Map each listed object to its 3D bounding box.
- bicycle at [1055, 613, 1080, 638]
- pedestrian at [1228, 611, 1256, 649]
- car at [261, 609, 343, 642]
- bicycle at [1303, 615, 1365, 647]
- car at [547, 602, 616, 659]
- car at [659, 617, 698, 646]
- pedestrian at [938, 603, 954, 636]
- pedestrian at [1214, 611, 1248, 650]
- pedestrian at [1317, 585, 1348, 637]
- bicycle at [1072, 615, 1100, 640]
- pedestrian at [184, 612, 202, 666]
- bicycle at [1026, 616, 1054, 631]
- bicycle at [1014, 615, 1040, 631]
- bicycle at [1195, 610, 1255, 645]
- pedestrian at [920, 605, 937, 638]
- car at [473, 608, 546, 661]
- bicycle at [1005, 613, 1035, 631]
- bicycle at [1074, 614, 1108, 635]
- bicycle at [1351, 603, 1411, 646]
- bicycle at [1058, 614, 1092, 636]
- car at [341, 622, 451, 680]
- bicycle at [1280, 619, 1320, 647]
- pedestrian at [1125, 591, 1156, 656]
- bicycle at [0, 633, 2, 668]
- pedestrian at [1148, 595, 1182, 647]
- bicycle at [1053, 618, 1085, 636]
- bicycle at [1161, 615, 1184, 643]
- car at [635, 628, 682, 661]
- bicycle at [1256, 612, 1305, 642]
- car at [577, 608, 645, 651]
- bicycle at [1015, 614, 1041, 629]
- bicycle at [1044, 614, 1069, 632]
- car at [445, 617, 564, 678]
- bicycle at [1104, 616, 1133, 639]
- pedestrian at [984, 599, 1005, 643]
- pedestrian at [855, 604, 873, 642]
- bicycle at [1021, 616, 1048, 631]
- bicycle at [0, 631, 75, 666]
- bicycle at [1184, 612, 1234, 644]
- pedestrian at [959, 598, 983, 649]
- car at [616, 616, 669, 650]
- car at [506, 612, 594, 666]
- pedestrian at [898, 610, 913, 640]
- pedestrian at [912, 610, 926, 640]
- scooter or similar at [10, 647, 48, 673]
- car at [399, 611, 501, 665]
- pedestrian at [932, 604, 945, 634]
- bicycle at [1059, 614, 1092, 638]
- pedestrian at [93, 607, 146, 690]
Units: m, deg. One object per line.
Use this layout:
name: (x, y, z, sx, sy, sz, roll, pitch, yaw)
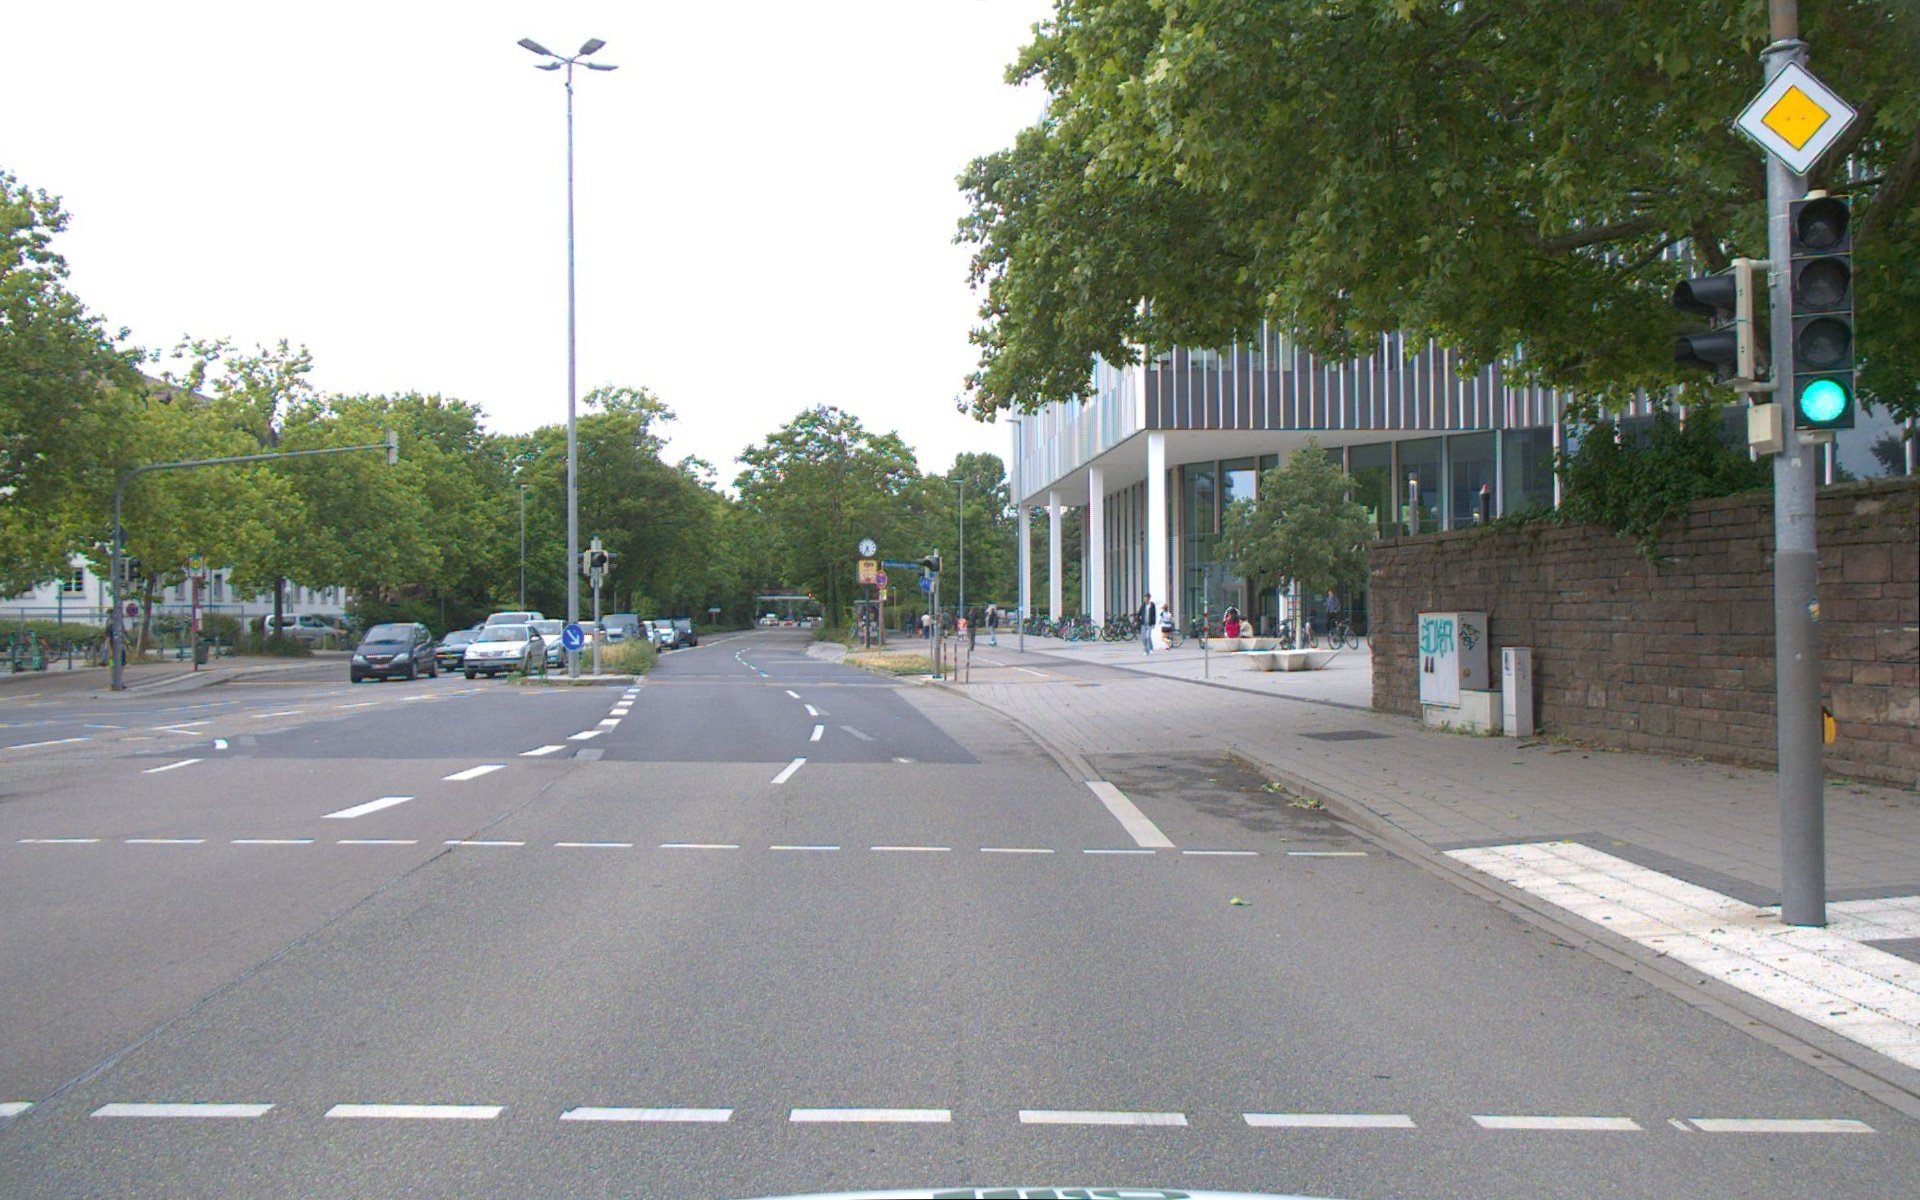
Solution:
bicycle: (5.090, 1.214, 78.428, 0.624, 1.160, 2.196, -3, 0, -9)
pedestrian: (9.165, 0.970, 53.770, 0.872, 1.214, 0.846, -1, -1, 9)
car: (-33.587, 1.287, 84.521, 3.517, 1.630, 1.649, 1, -1, -7)
bicycle: (12.677, 1.055, 56.055, 2.166, 1.023, 0.772, -1, -1, -35)
car: (-14.242, 1.145, 62.412, 1.954, 2.049, 3.996, -1, -1, -5)
car: (-16.669, 1.855, 98.062, 1.866, 1.621, 4.512, -1, -1, -5)
pedestrian: (-0.904, 1.221, 105.305, 0.907, 2.049, 1.038, -1, -1, -6)
pedestrian: (8.705, 0.970, 53.148, 0.827, 1.227, 0.893, -1, -1, 29)
pedestrian: (15.314, 0.436, 68.034, 1.156, 2.098, 1.136, 1, -1, 15)
bicycle: (5.752, 1.262, 75.681, 0.598, 1.099, 1.954, -3, 0, -16)
pedestrian: (-25.034, 1.270, 53.987, 0.412, 1.769, 0.433, 1, -1, -11)
bicycle: (4.826, 1.423, 99.864, 1.575, 0.890, 0.556, -2, -1, -4)
bicycle: (4.143, 1.428, 102.532, 1.575, 0.890, 0.556, -2, -1, -4)
bicycle: (9.643, 1.008, 60.154, 0.761, 1.209, 2.702, -2, -1, 43)
pedestrian: (-1.986, 1.356, 105.392, 0.908, 2.049, 1.037, -1, -1, -9)
car: (-16.986, 1.273, 62.522, 1.736, 1.880, 4.485, 1, -1, -3)
bicycle: (3.840, 1.405, 105.545, 1.760, 1.100, 0.625, -3, 0, -7)
bicycle: (6.426, 1.202, 81.220, 1.572, 0.952, 0.569, -3, 0, 6)
bicycle: (14.005, 0.799, 54.968, 1.978, 1.328, 0.640, -2, 1, -27)
bicycle: (5.728, 1.242, 82.648, 1.575, 0.999, 0.556, -4, 0, -4)
car: (-15.686, 1.387, 46.155, 1.815, 1.489, 3.696, -1, 0, -1)
bicycle: (11.837, 1.137, 57.582, 0.659, 0.914, 1.838, -2, -1, 36)
pedestrian: (5.767, 0.749, 52.791, 0.826, 2.049, 0.894, -1, -1, -3)
bicycle: (-33.103, 1.693, 55.066, 2.002, 1.173, 0.716, -1, -1, -23)
pedestrian: (7.388, 0.749, 59.658, 0.835, 1.868, 0.884, 0, -1, -34)
bicycle: (5.660, 1.422, 85.735, 1.575, 0.890, 0.556, -1, -1, -4)
bicycle: (8.165, 1.104, 63.585, 0.625, 1.080, 1.840, 1, -1, 0)
car: (-15.690, 2.281, 86.352, 1.955, 1.574, 4.175, -2, 0, -5)
bicycle: (11.316, 0.960, 58.352, 0.761, 1.019, 1.947, -2, -1, 43)
car: (-14.700, 1.214, 69.941, 1.953, 1.717, 4.946, 1, 0, -2)
bicycle: (4.301, 1.347, 104.440, 1.576, 0.890, 0.555, -1, -1, -9)
bicycle: (5.167, 1.240, 89.000, 1.258, 0.890, 0.556, -2, -1, -4)
car: (-12.514, 1.276, 45.707, 1.952, 1.556, 4.275, -1, 0, 2)
bicycle: (7.100, 1.219, 73.875, 1.477, 0.945, 0.433, -2, 1, -44)
pedestrian: (1.630, 0.979, 78.039, 0.826, 2.049, 0.893, -1, -1, -7)
pedestrian: (-5.457, 1.296, 93.562, 0.895, 2.048, 0.853, -3, 1, -6)
bicycle: (4.557, 1.444, 101.034, 1.575, 0.890, 0.556, -2, -1, -4)
bicycle: (-33.817, 1.762, 60.210, 2.695, 1.195, 0.720, -1, -1, -9)
bicycle: (9.273, 1.023, 61.528, 0.723, 1.135, 2.170, -2, -1, 42)
pedestrian: (0.456, 0.953, 68.195, 0.826, 2.049, 0.894, -3, -1, -3)
car: (-14.754, 1.515, 77.148, 1.866, 1.491, 4.906, 1, -1, -5)
car: (-13.419, 1.247, 54.409, 1.918, 1.611, 4.254, -2, 0, -2)
pedestrian: (-3.755, 1.732, 114.083, 0.908, 2.049, 1.037, -1, -1, -9)
pedestrian: (-2.840, 1.716, 114.221, 0.808, 2.049, 0.718, -1, -1, -9)
scooter or similar: (-27.219, 1.743, 48.380, 0.398, 0.706, 1.288, 1, -1, -2)
car: (-16.461, 1.205, 53.579, 1.952, 1.648, 4.001, -1, 0, 2)
pedestrian: (-1.501, 1.322, 114.731, 0.808, 2.049, 0.719, -1, -1, -5)
bicycle: (5.885, 1.300, 84.248, 1.610, 1.110, 0.572, -4, -1, 4)
pedestrian: (-21.161, 1.219, 41.657, 0.877, 2.049, 1.008, -1, -1, -7)
